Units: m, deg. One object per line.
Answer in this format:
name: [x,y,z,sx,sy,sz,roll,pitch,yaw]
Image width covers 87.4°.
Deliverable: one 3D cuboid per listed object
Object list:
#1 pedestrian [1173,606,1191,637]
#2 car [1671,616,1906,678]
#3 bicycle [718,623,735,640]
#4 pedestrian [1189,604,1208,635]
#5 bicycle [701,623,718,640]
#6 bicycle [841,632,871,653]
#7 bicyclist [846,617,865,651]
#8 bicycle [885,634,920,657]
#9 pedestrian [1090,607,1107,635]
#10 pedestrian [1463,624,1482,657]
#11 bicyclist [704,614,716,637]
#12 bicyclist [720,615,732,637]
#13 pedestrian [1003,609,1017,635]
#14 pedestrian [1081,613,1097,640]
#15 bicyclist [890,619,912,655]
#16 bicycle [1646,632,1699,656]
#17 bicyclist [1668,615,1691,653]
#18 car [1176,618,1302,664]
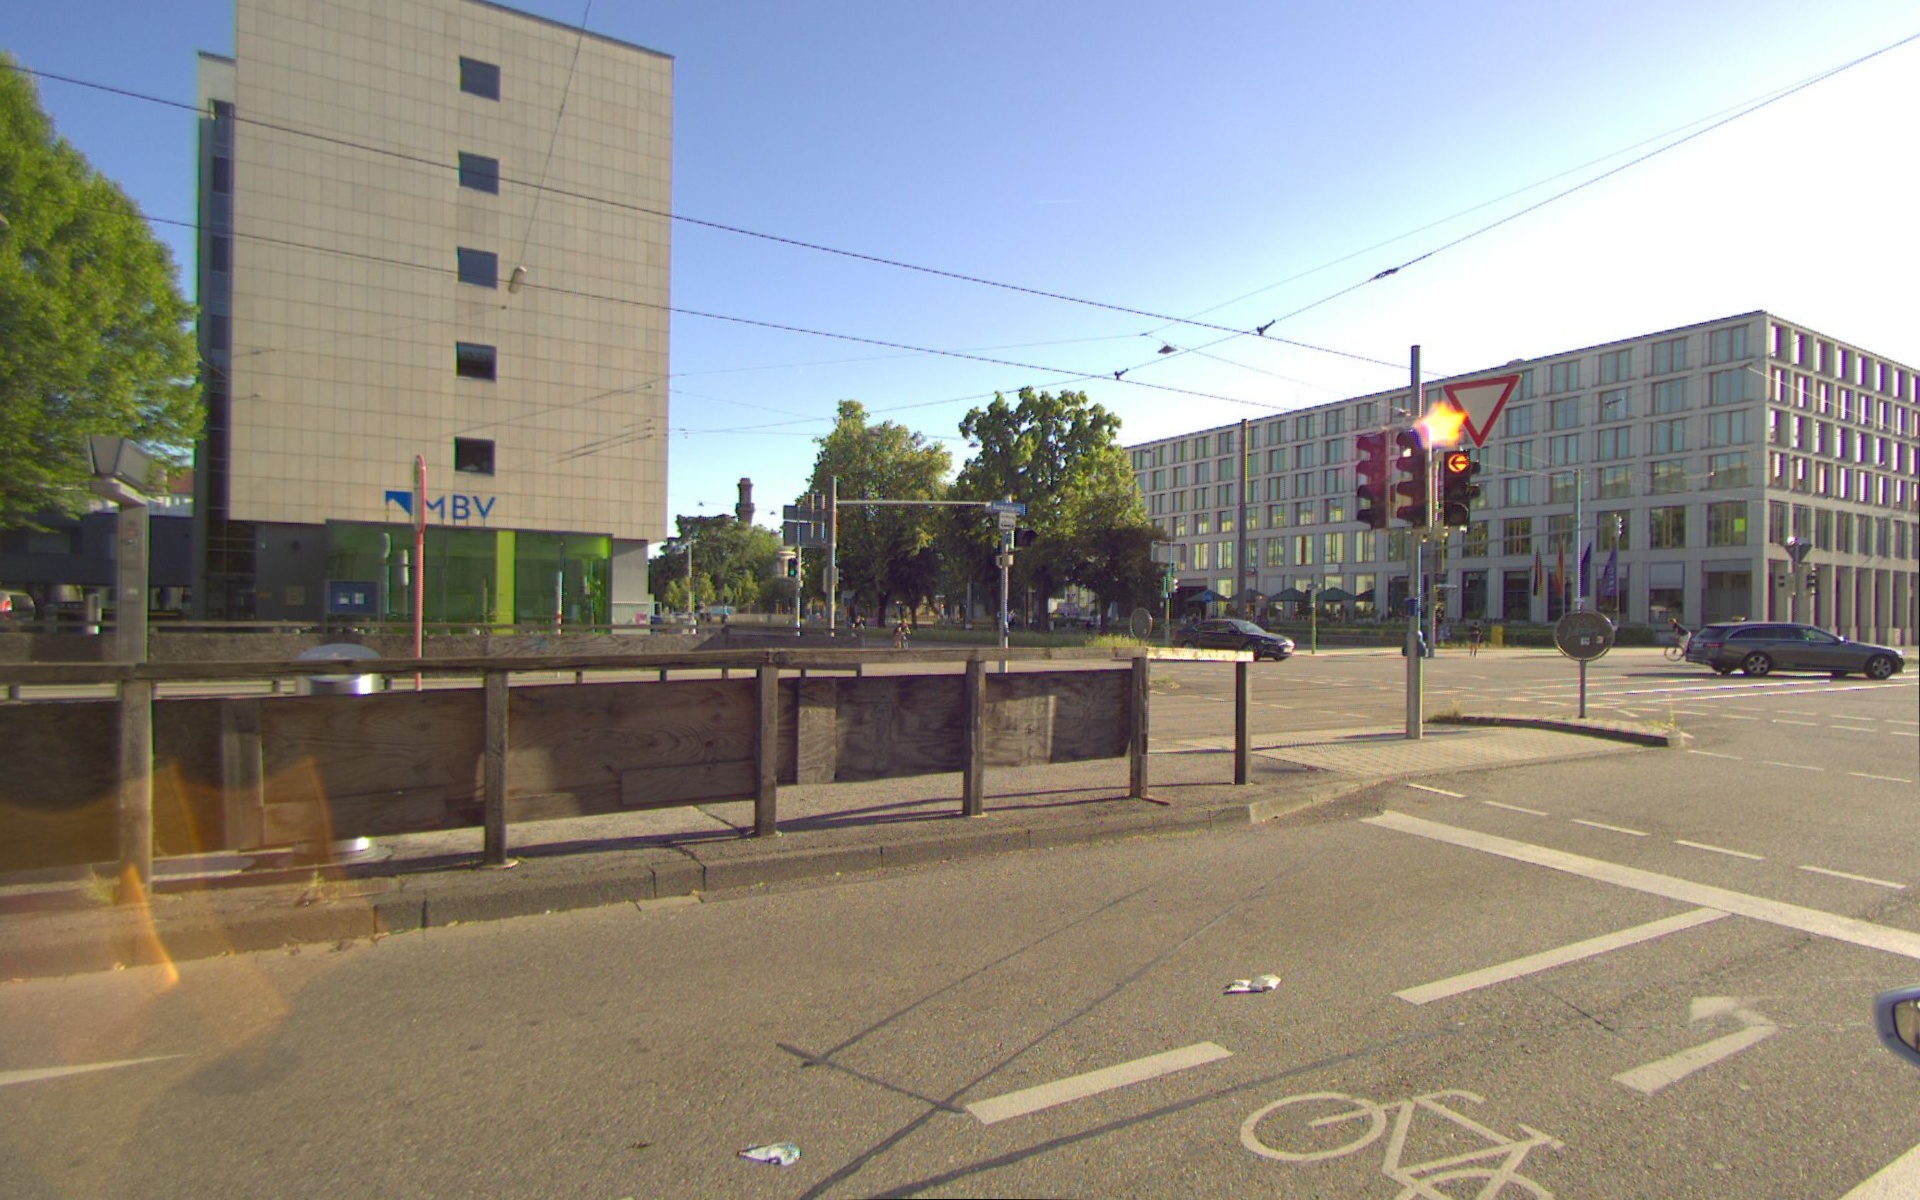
pedestrian: [14.816,1.412,66.995,0.812,2.040,0.841,2,0,-20]
car: [23.041,1.268,28.152,4.710,1.586,1.899,0,-1,14]
bicycle: [-15.984,2.161,68.722,0.616,1.148,1.869,1,-1,-31]
pedestrian: [15.327,1.238,64.586,0.862,1.925,0.714,2,0,-23]
bicycle: [-16.994,2.121,68.144,0.574,1.148,1.776,1,-1,-31]
bicycle: [-4.795,1.938,46.080,0.554,0.947,1.846,1,-1,-34]
bicyclist: [-4.809,1.546,46.137,0.600,1.544,0.758,1,-1,-34]
bicycle: [-2.457,1.918,42.486,0.639,0.947,1.731,1,-1,-36]
pedestrian: [10.160,1.555,73.695,0.816,2.040,0.837,2,0,-34]
pedestrian: [25.161,1.999,49.283,0.771,1.610,0.584,1,-1,-40]
bicyclist: [-16.972,1.726,68.126,0.647,1.544,0.615,1,-1,-32]
bicyclist: [-16.053,1.791,68.856,0.602,1.544,0.709,1,-1,-32]
pedestrian: [4.087,1.790,82.104,0.813,2.040,0.840,2,0,-25]
pedestrian: [9.372,1.922,73.113,0.866,1.925,0.711,2,0,-34]
bicyclist: [-2.494,1.561,42.550,0.611,1.470,0.792,1,-1,-36]
bicycle: [30.648,1.881,43.215,1.833,0.947,0.760,0,-1,37]
bicyclist: [30.832,1.443,43.021,0.765,1.610,0.758,0,-1,38]
car: [9.972,1.432,36.224,1.647,1.474,4.392,1,0,-32]
